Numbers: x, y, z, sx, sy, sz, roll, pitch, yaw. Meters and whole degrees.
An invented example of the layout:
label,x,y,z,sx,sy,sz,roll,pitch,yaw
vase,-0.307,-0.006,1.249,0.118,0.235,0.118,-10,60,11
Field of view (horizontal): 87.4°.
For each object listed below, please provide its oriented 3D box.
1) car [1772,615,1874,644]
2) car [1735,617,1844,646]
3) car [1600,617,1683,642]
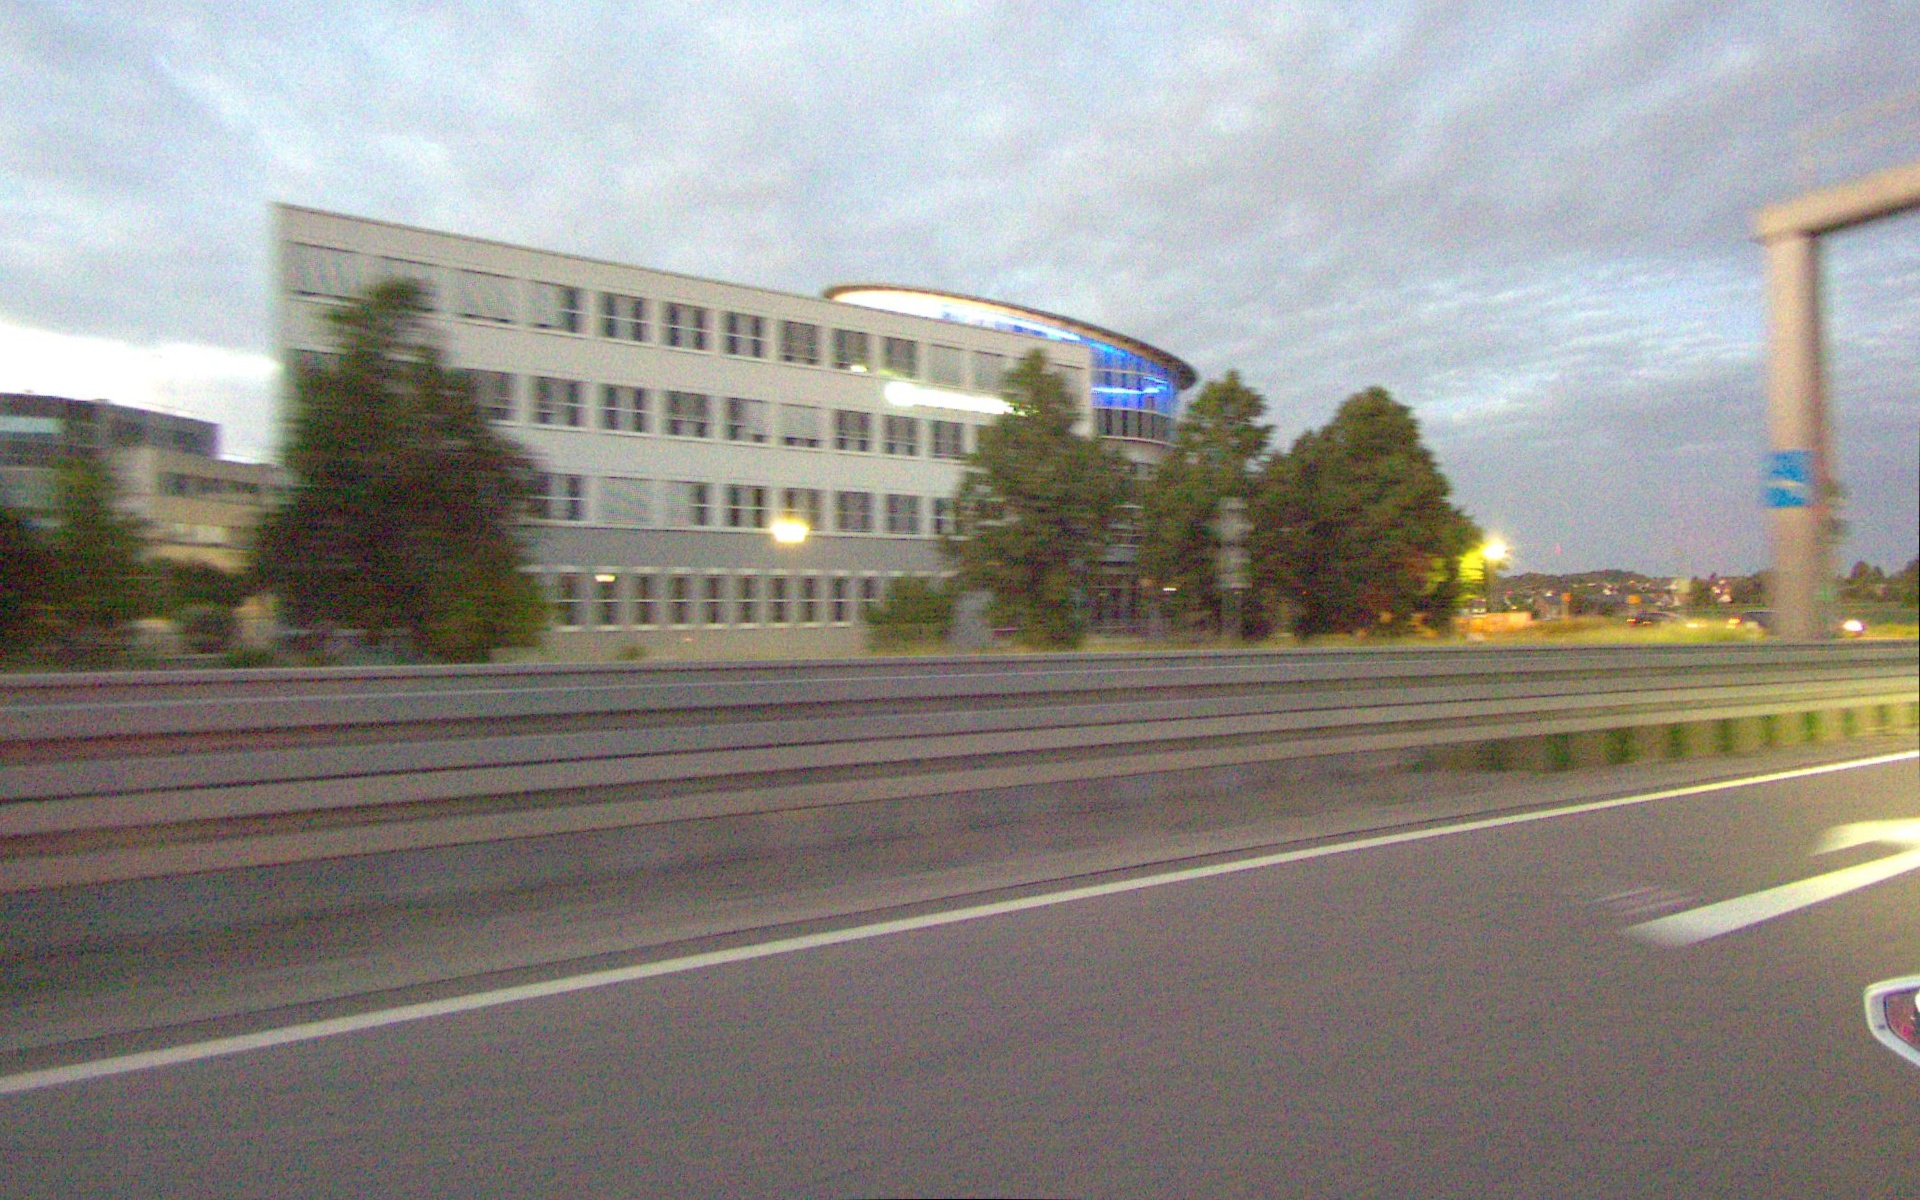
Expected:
label,x,y,z,sx,sy,sz,roll,pitch,yaw
car,48.545,1.669,56.560,1.708,1.558,4.024,1,-2,-29
car,45.574,1.715,55.305,1.707,1.558,4.298,1,-2,-27
car,42.358,1.847,62.495,1.710,1.493,3.966,1,-2,-32
